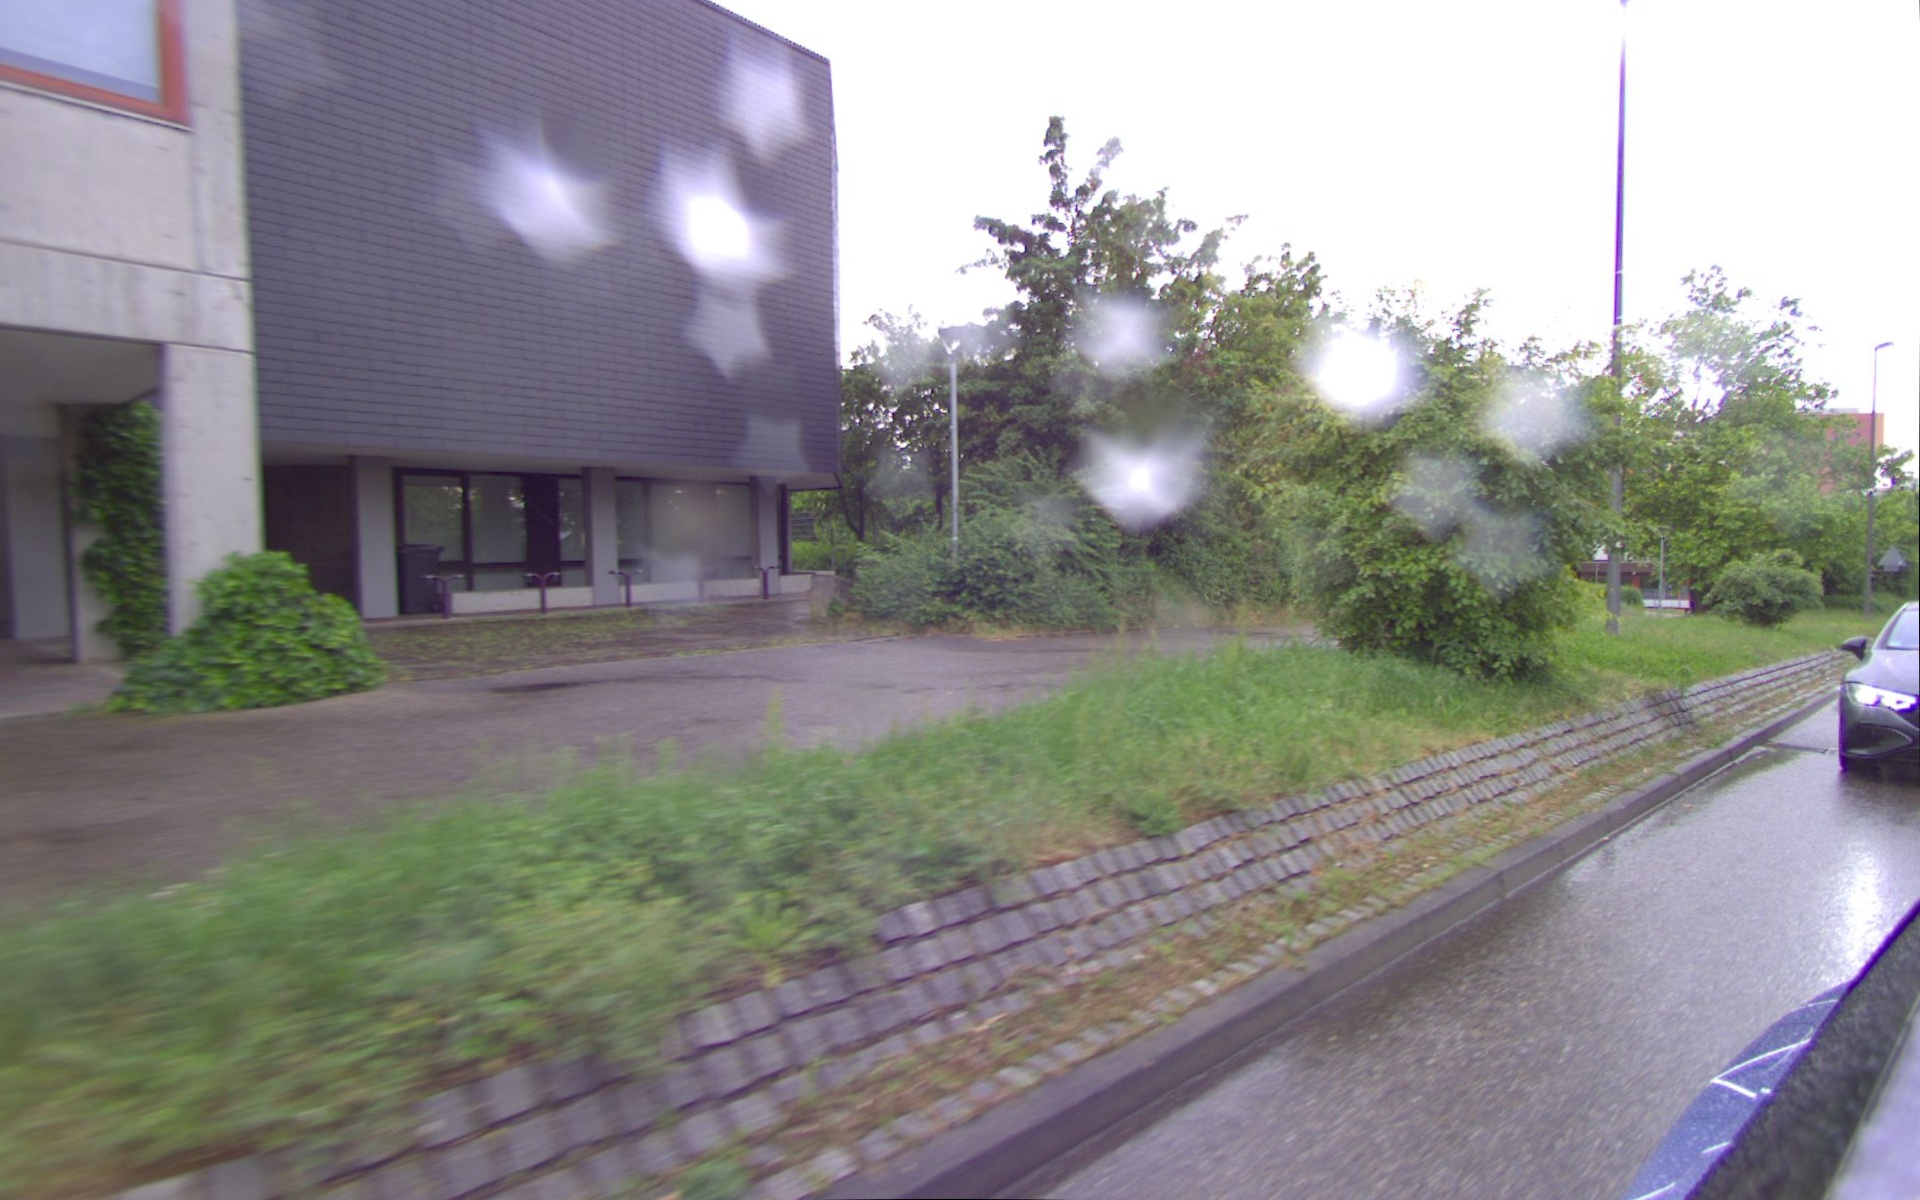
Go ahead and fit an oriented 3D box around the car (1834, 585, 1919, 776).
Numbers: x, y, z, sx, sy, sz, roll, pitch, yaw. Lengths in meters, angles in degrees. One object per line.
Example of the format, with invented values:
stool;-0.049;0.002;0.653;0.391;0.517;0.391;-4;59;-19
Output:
car;9.438;0.606;9.040;4.471;1.462;1.835;-1;1;-41
